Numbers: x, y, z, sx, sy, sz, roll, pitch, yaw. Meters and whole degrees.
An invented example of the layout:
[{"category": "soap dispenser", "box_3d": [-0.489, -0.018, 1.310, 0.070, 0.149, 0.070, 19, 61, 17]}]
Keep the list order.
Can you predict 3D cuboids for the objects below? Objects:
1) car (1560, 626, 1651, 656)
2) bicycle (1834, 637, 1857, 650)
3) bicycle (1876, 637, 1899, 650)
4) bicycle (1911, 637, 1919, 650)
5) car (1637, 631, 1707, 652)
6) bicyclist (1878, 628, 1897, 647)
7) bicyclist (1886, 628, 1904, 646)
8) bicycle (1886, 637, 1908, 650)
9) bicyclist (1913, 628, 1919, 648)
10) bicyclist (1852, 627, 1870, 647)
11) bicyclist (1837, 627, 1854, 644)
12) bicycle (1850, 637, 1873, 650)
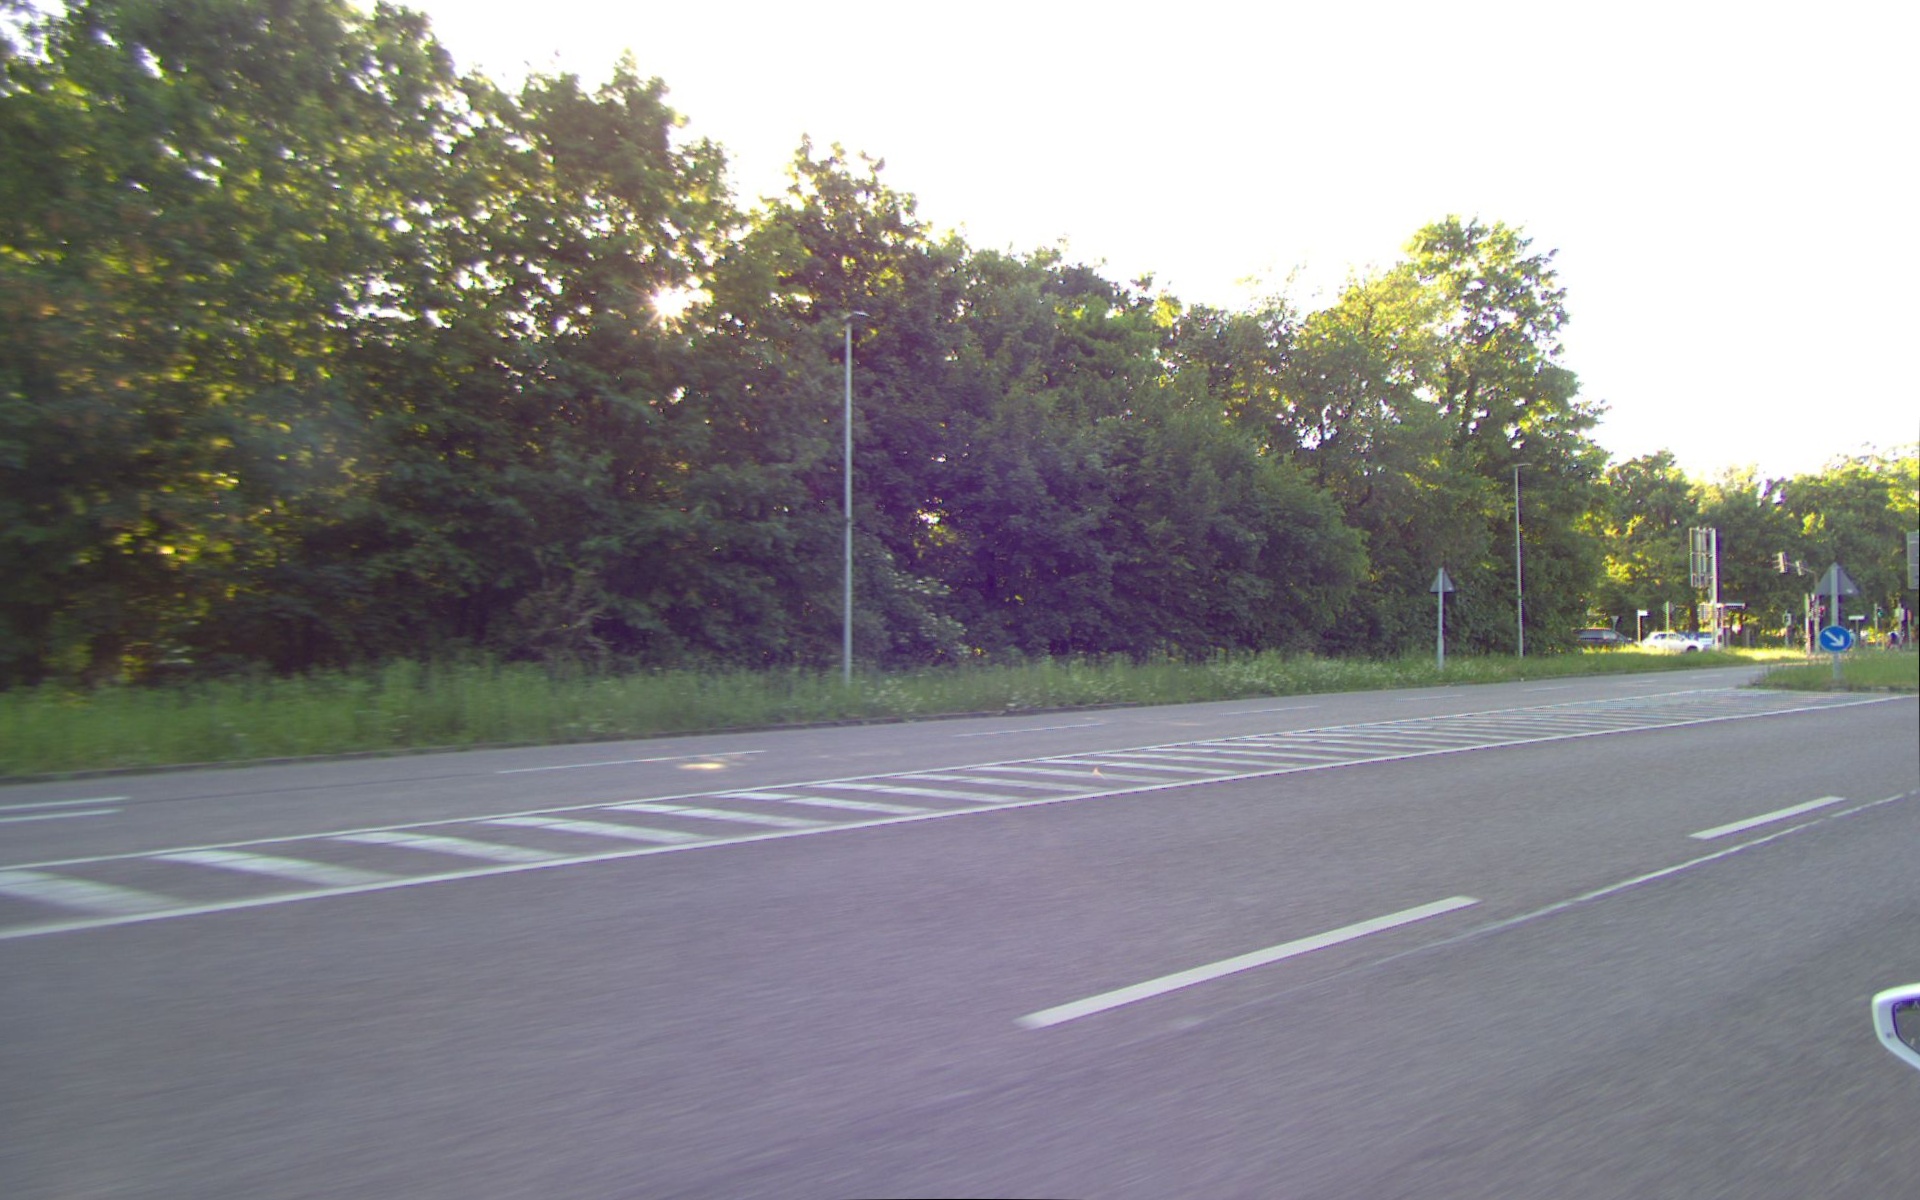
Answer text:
[{"category": "car", "box_3d": [41.636, 2.645, 64.968, 4.847, 1.854, 1.925, -1, -2, 31]}, {"category": "bicycle", "box_3d": [64.802, 3.189, 73.483, 1.889, 0.926, 0.711, 0, -1, -31]}, {"category": "bicycle", "box_3d": [66.602, 3.112, 72.117, 1.889, 0.926, 0.711, 1, -2, -31]}, {"category": "bicycle", "box_3d": [67.569, 3.056, 70.514, 1.889, 0.926, 0.711, 1, -2, -31]}, {"category": "car", "box_3d": [48.598, 2.801, 68.682, 3.732, 1.407, 1.925, -1, -2, 31]}, {"category": "bicyclist", "box_3d": [66.598, 2.672, 72.124, 0.979, 1.373, 0.711, 1, -2, -31]}, {"category": "bicyclist", "box_3d": [67.952, 2.685, 73.013, 0.979, 1.360, 0.711, 1, -2, -31]}, {"category": "bicycle", "box_3d": [68.340, 3.138, 73.241, 1.889, 0.926, 0.711, 1, -2, -31]}, {"category": "bicyclist", "box_3d": [67.619, 2.658, 70.551, 0.979, 1.356, 0.711, 1, -2, -31]}, {"category": "bicyclist", "box_3d": [65.204, 2.683, 72.682, 0.979, 1.408, 0.707, 1, -2, -31]}, {"category": "bicyclist", "box_3d": [64.800, 2.589, 73.499, 0.979, 1.208, 0.711, 1, -2, -31]}, {"category": "bicycle", "box_3d": [65.236, 3.171, 72.685, 1.889, 0.926, 0.711, 1, -2, -31]}]
